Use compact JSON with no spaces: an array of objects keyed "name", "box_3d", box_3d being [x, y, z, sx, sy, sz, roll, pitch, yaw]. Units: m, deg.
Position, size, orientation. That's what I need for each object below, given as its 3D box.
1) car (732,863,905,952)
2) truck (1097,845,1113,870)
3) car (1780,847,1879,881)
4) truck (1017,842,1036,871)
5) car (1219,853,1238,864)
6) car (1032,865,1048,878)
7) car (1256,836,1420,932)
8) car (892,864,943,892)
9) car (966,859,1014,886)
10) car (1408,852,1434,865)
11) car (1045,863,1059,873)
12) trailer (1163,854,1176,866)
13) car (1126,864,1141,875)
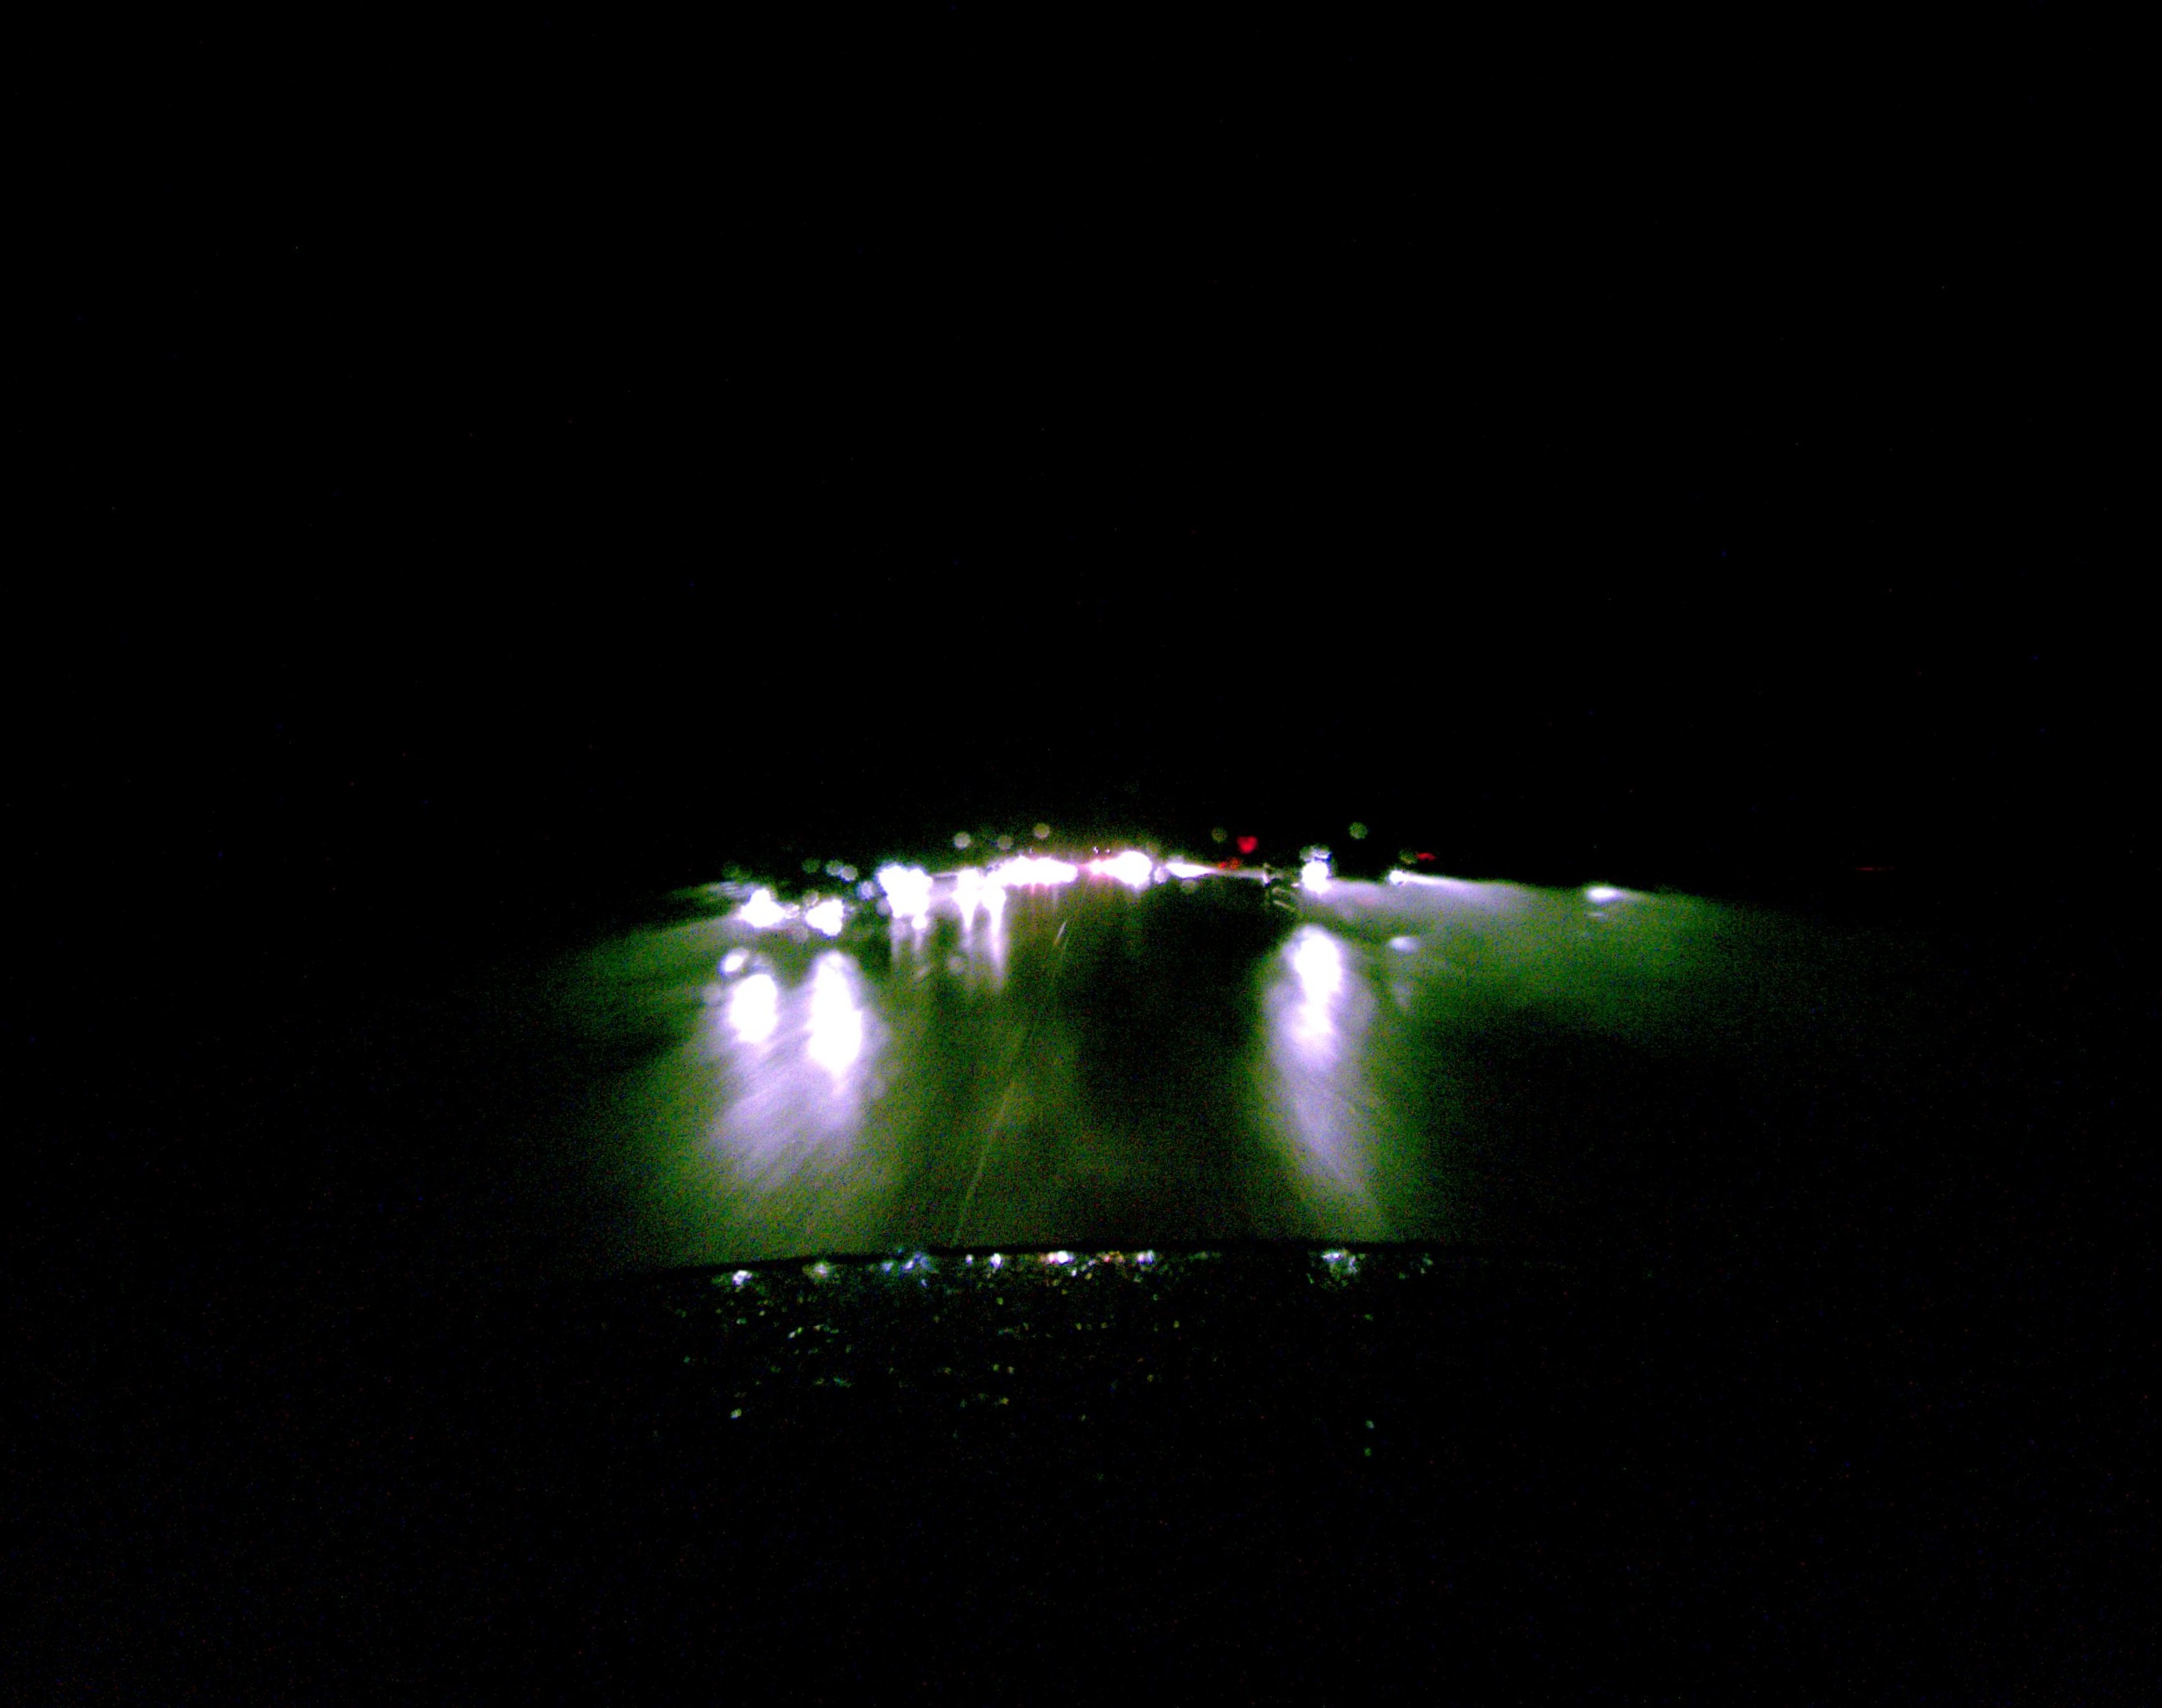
[{"name":"car","box_3d":[-5.392,1.005,16.440,2.063,1.510,5.014,-2,0,-1]},{"name":"truck","box_3d":[4.184,0.629,133.204,2.503,4.223,5.981,2,1,1]},{"name":"car","box_3d":[38.403,0.474,39.122,1.718,1.646,3.664,2,1,7]},{"name":"truck","box_3d":[-8.199,0.354,114.760,2.766,4.198,6.191,2,1,-4]},{"name":"car","box_3d":[20.253,0.567,104.577,1.844,1.451,4.292,2,1,1]},{"name":"car","box_3d":[-4.445,1.910,81.943,1.712,1.286,3.991,1,-2,-4]},{"name":"car","box_3d":[5.674,0.558,17.644,2.142,1.873,5.555,0,1,3]},{"name":"car","box_3d":[-9.282,1.331,43.456,1.723,1.488,4.046,-2,-1,4]},{"name":"car","box_3d":[-5.285,1.094,44.671,1.998,1.440,4.337,-2,-1,4]},{"name":"car","box_3d":[48.167,0.700,107.637,1.997,1.761,4.572,-1,-1,6]},{"name":"car","box_3d":[-4.007,1.890,103.068,1.712,1.286,3.991,1,-2,-4]},{"name":"trailer","box_3d":[30.850,2.068,265.314,2.820,3.975,13.930,2,1,1]},{"name":"car","box_3d":[7.072,2.126,102.777,1.711,1.286,3.992,1,-2,0]}]
